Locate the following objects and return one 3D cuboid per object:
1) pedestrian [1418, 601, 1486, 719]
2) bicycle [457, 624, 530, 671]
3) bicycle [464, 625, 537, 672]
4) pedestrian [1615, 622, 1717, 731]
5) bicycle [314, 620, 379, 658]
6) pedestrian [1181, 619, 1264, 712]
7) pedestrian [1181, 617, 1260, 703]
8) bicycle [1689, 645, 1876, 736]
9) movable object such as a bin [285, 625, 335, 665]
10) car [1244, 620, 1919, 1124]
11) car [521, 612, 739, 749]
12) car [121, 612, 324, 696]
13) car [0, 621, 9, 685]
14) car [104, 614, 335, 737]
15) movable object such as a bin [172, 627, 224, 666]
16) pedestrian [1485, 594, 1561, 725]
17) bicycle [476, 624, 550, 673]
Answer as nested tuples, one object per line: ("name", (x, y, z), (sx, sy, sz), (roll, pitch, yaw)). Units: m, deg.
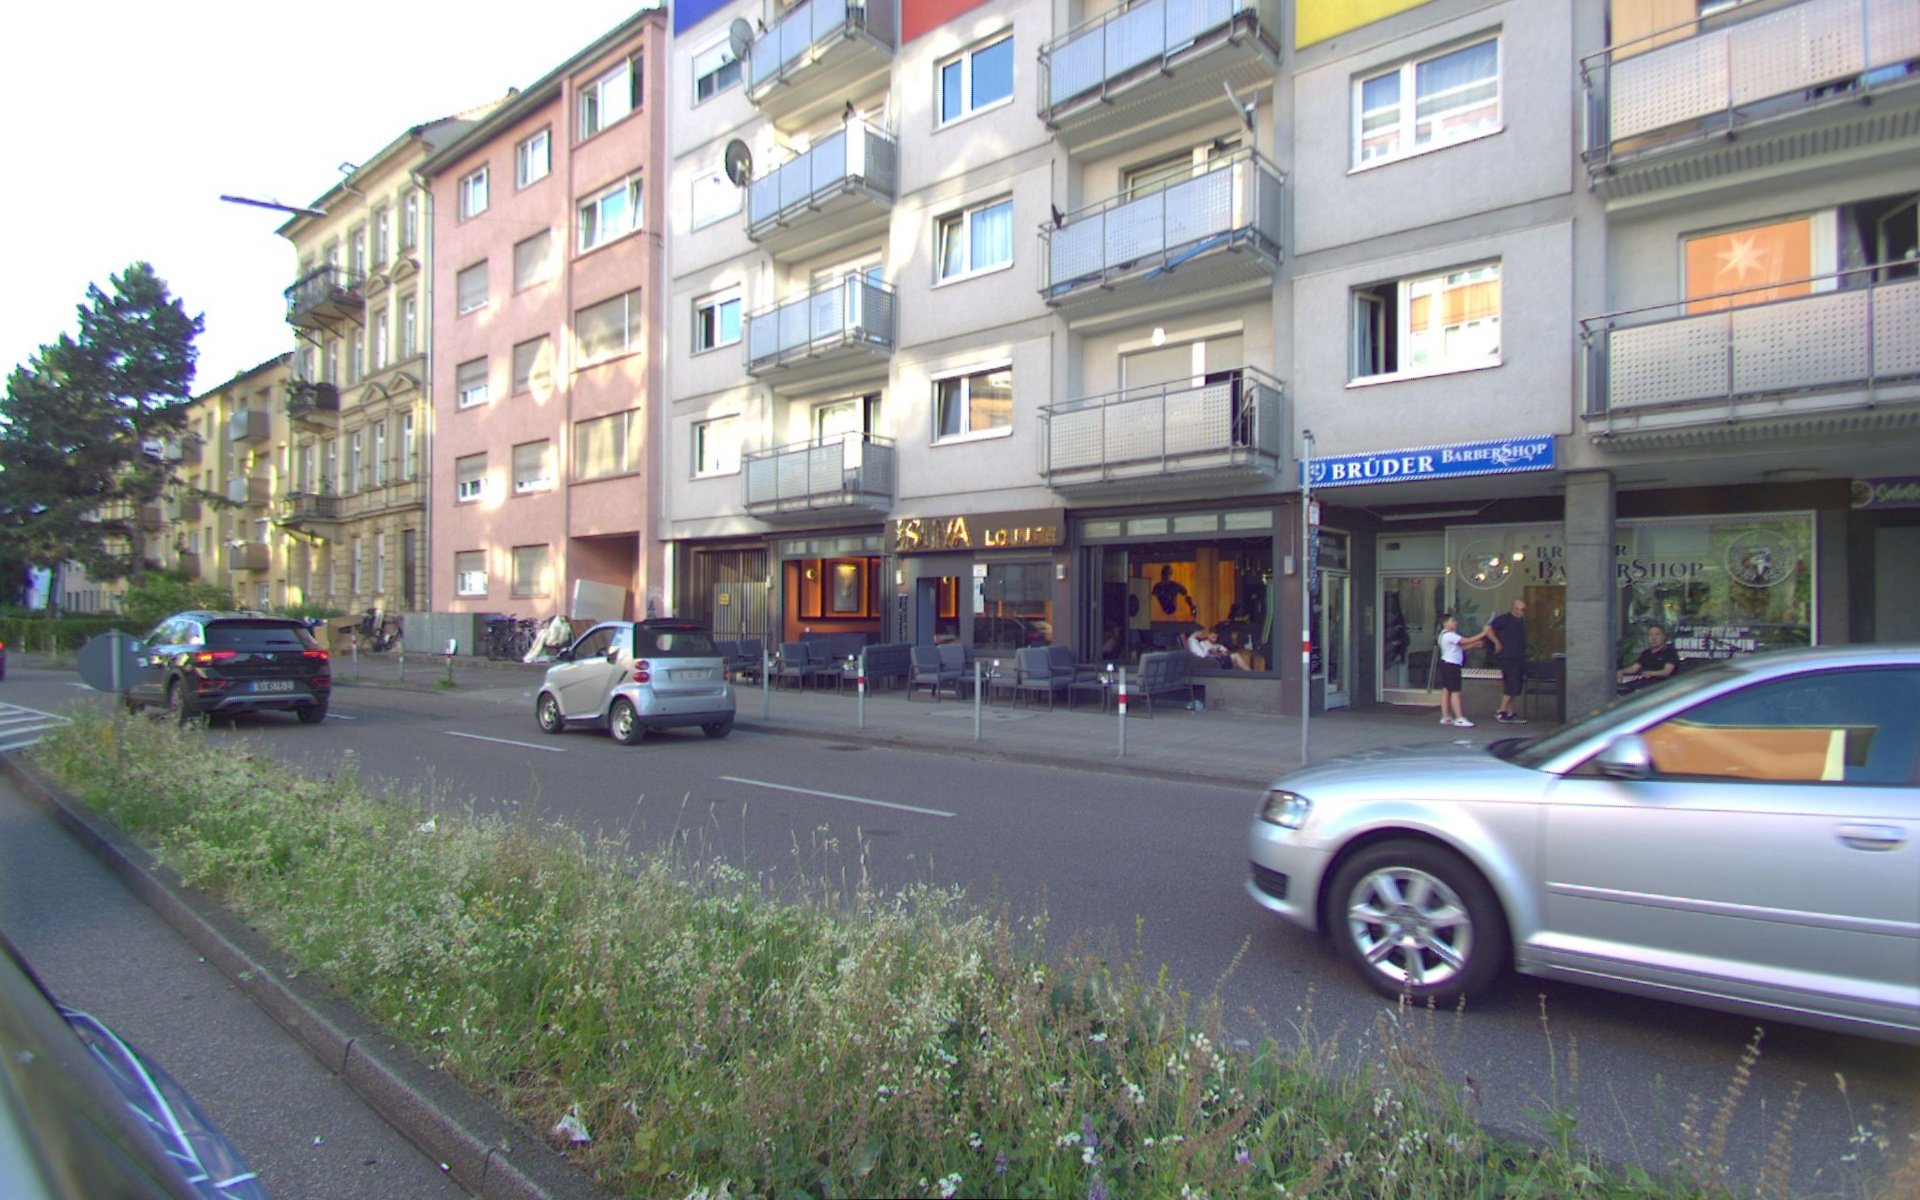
("pedestrian", (6.367, 0.757, 13.101), (0.625, 1.478, 0.649), (-1, -2, 43))
("bicycle", (-12.542, 1.260, 27.261), (0.473, 1.200, 1.758), (-1, -2, 38))
("bicycle", (-12.154, 1.256, 26.823), (0.473, 1.200, 1.758), (-1, -2, 38))
("pedestrian", (8.771, 0.934, 12.598), (0.798, 1.323, 0.626), (0, -1, -3))
("bicycle", (-19.987, 1.244, 32.992), (0.473, 1.200, 1.758), (-1, -2, 38))
("pedestrian", (3.989, 0.966, 15.349), (0.882, 1.357, 0.961), (-1, -2, 40))
("pedestrian", (4.292, 0.960, 16.662), (0.974, 1.357, 0.871), (-1, -2, 40))
("bicycle", (9.981, 1.072, 12.361), (1.691, 1.006, 0.620), (0, -1, 32))
("movable object such as a bin", (-20.936, 1.437, 32.606), (0.837, 1.242, 1.193), (0, -1, 1))
("car", (3.289, 0.809, 3.562), (4.098, 1.436, 1.691), (-2, -3, 40))
("car", (-4.421, 1.006, 13.446), (2.807, 1.605, 1.519), (-2, -3, 41))
("car", (-15.665, 1.119, 21.487), (4.079, 1.641, 1.710), (-1, -3, 25))
("car", (-24.266, 1.235, 23.885), (3.970, 1.482, 1.581), (-1, -2, 30))
("car", (-10.853, 1.022, 14.738), (4.097, 1.556, 1.659), (-1, -3, 39))
("movable object such as a bin", (-24.585, 1.485, 32.669), (0.836, 1.242, 1.195), (0, -1, -8))
("pedestrian", (7.403, 0.772, 13.340), (0.650, 1.685, 0.625), (0, -1, 5))
("bicycle", (-11.611, 1.242, 26.330), (0.473, 1.200, 1.758), (-1, -2, 38))
